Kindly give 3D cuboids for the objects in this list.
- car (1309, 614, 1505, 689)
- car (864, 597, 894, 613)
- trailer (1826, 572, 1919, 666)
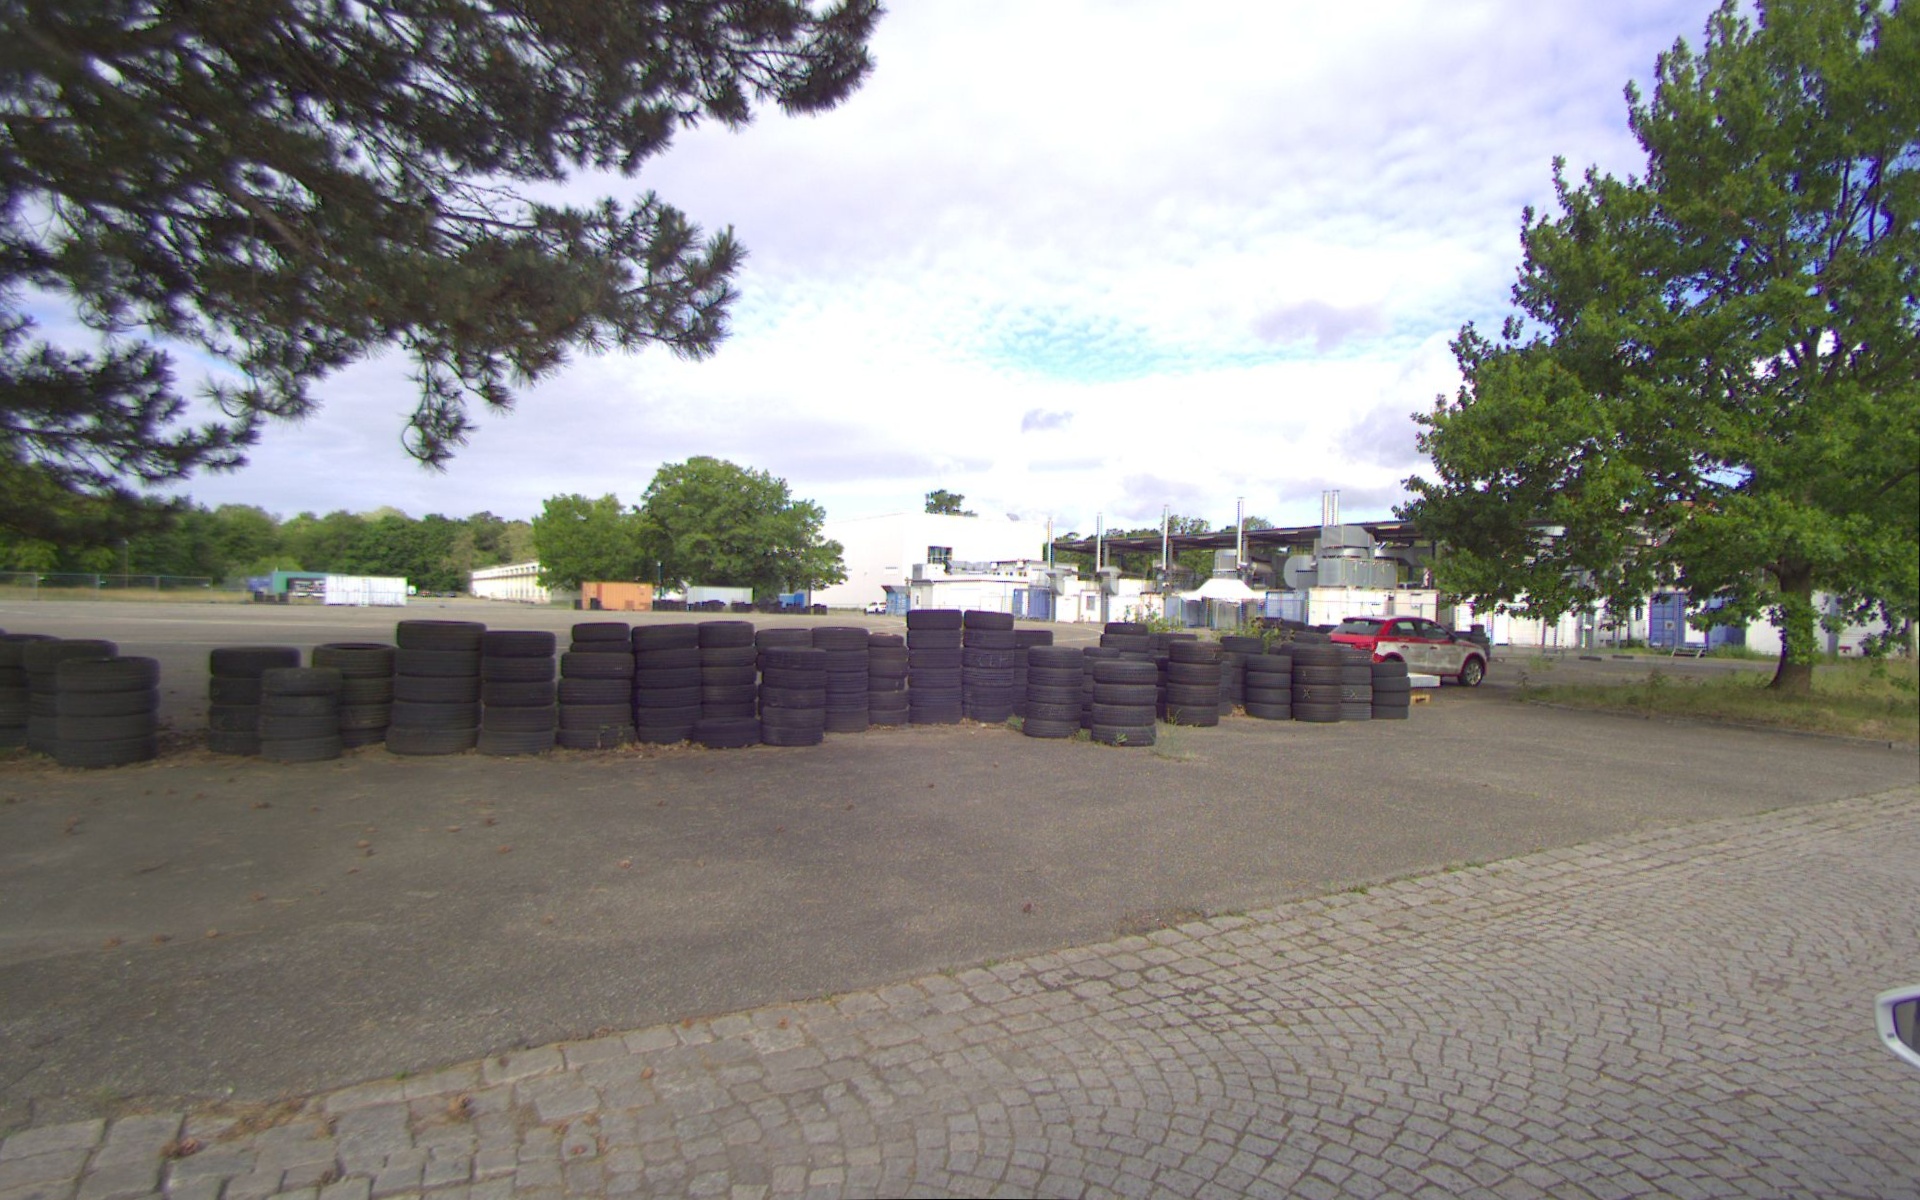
[{"bbox_3d":[9.561,1.056,21.463,4.010,1.452,1.620,1,0,-26],"label":"car"},{"bbox_3d":[-9.343,0.561,115.552,1.809,1.655,4.085,2,0,-30],"label":"car"},{"bbox_3d":[40.617,0.855,42.560,10.054,3.646,2.614,2,0,-29],"label":"trailer"}]
